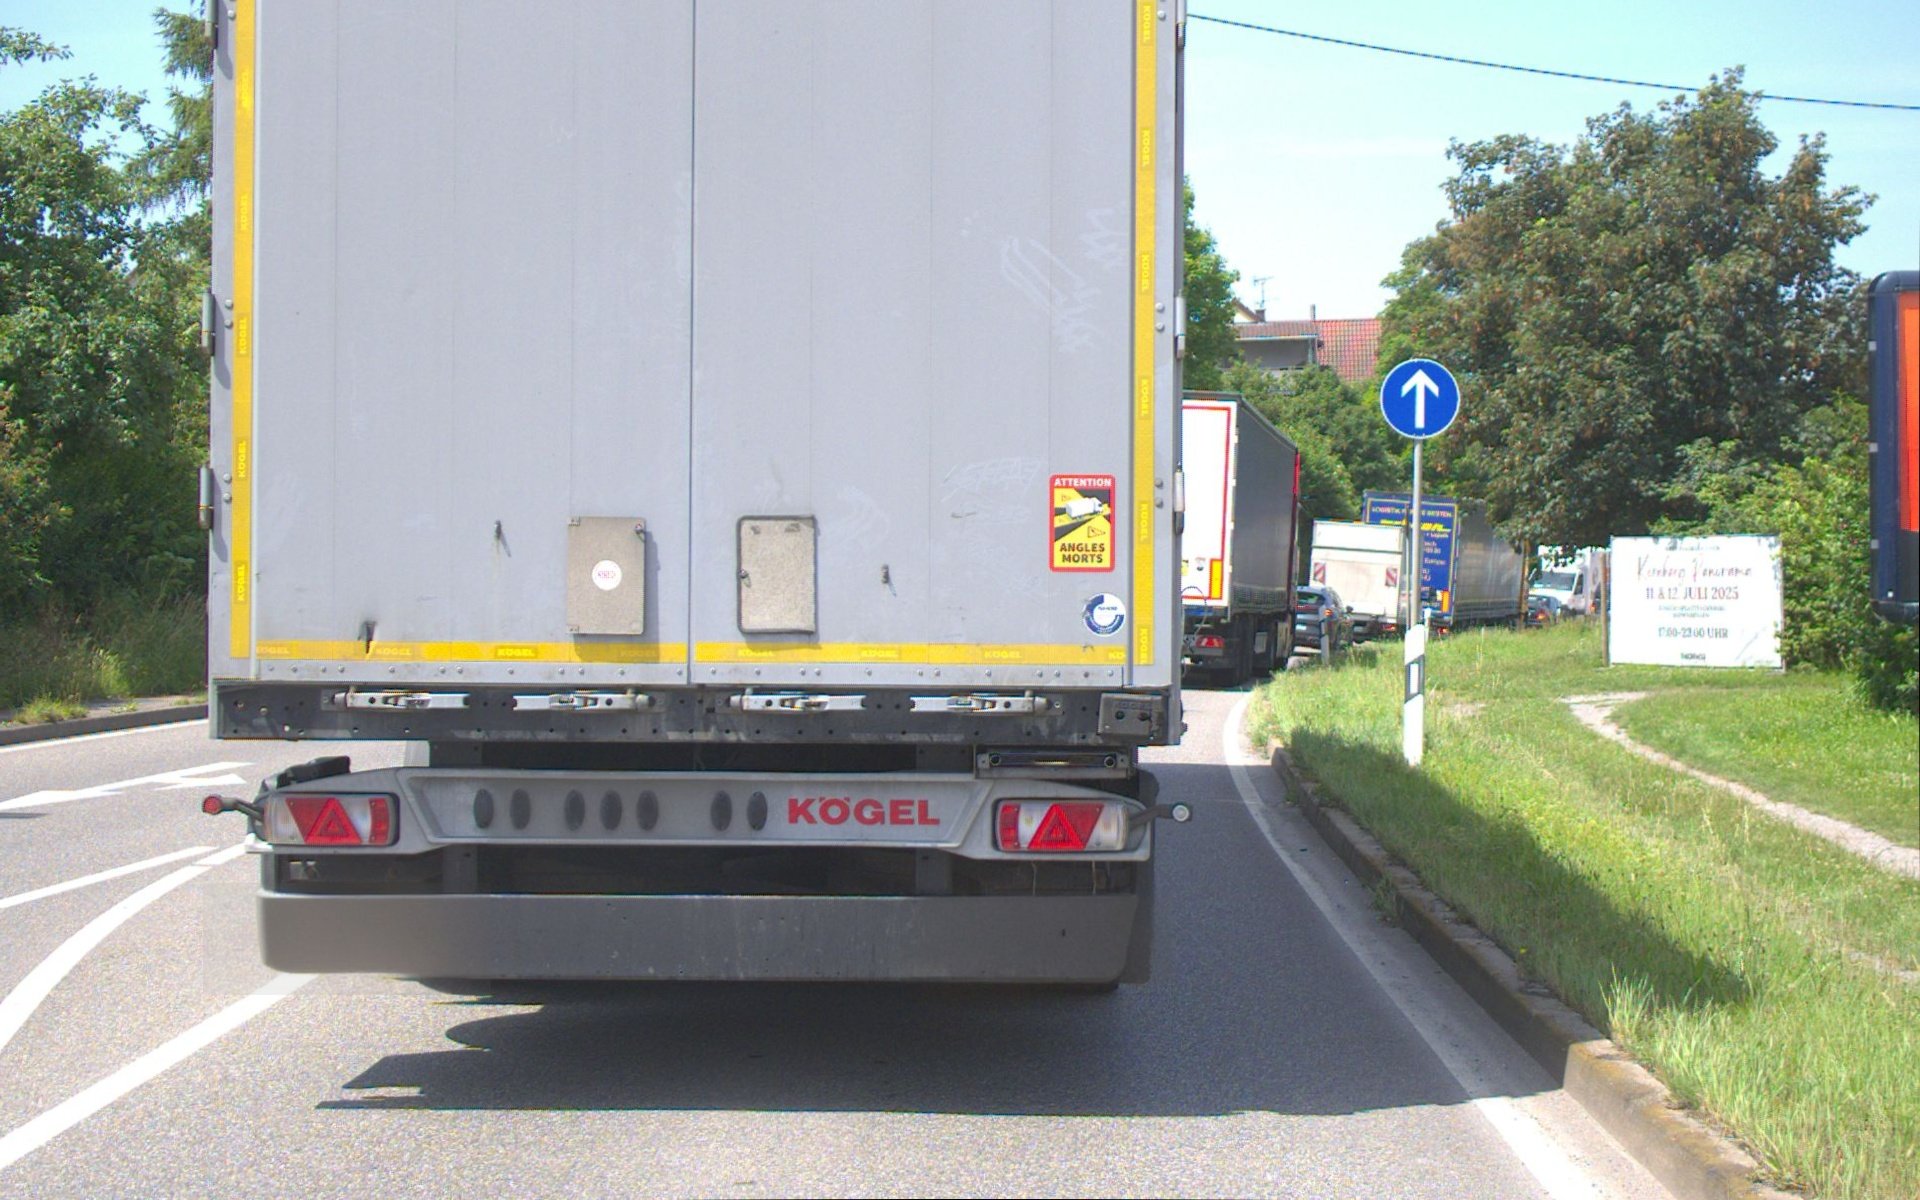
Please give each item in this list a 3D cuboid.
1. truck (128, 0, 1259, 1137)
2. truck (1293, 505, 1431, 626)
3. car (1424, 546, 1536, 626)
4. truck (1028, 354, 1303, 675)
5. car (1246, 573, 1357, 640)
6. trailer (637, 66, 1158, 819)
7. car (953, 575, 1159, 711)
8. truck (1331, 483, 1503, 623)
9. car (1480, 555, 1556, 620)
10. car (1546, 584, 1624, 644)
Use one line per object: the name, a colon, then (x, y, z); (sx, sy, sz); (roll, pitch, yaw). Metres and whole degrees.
truck: (-0.490, -0.838, 14.371); (2.822, 4.113, 11.443); (1, 1, 2)
truck: (9.791, -0.810, 83.270); (2.545, 2.793, 6.028); (1, 0, 14)
car: (15.530, -0.462, 102.311); (2.533, 2.269, 6.376); (1, 1, 15)
truck: (3.555, -1.151, 54.188); (2.761, 4.274, 16.409); (1, 0, 9)
car: (7.487, 0.139, 75.103); (1.994, 1.371, 3.998); (1, 0, 11)
trailer: (-0.199, -0.926, 22.069); (2.825, 4.097, 6.544); (0, 1, 3)
car: (1.079, 0.433, 36.763); (1.819, 1.342, 3.846); (1, 0, 7)
truck: (12.501, -1.316, 93.332); (3.435, 3.592, 9.347); (1, 1, 15)
car: (17.995, -0.390, 110.719); (1.995, 2.007, 3.997); (1, 0, 15)
car: (21.625, 0.477, 118.888); (1.995, 2.007, 3.996); (1, 0, 20)
